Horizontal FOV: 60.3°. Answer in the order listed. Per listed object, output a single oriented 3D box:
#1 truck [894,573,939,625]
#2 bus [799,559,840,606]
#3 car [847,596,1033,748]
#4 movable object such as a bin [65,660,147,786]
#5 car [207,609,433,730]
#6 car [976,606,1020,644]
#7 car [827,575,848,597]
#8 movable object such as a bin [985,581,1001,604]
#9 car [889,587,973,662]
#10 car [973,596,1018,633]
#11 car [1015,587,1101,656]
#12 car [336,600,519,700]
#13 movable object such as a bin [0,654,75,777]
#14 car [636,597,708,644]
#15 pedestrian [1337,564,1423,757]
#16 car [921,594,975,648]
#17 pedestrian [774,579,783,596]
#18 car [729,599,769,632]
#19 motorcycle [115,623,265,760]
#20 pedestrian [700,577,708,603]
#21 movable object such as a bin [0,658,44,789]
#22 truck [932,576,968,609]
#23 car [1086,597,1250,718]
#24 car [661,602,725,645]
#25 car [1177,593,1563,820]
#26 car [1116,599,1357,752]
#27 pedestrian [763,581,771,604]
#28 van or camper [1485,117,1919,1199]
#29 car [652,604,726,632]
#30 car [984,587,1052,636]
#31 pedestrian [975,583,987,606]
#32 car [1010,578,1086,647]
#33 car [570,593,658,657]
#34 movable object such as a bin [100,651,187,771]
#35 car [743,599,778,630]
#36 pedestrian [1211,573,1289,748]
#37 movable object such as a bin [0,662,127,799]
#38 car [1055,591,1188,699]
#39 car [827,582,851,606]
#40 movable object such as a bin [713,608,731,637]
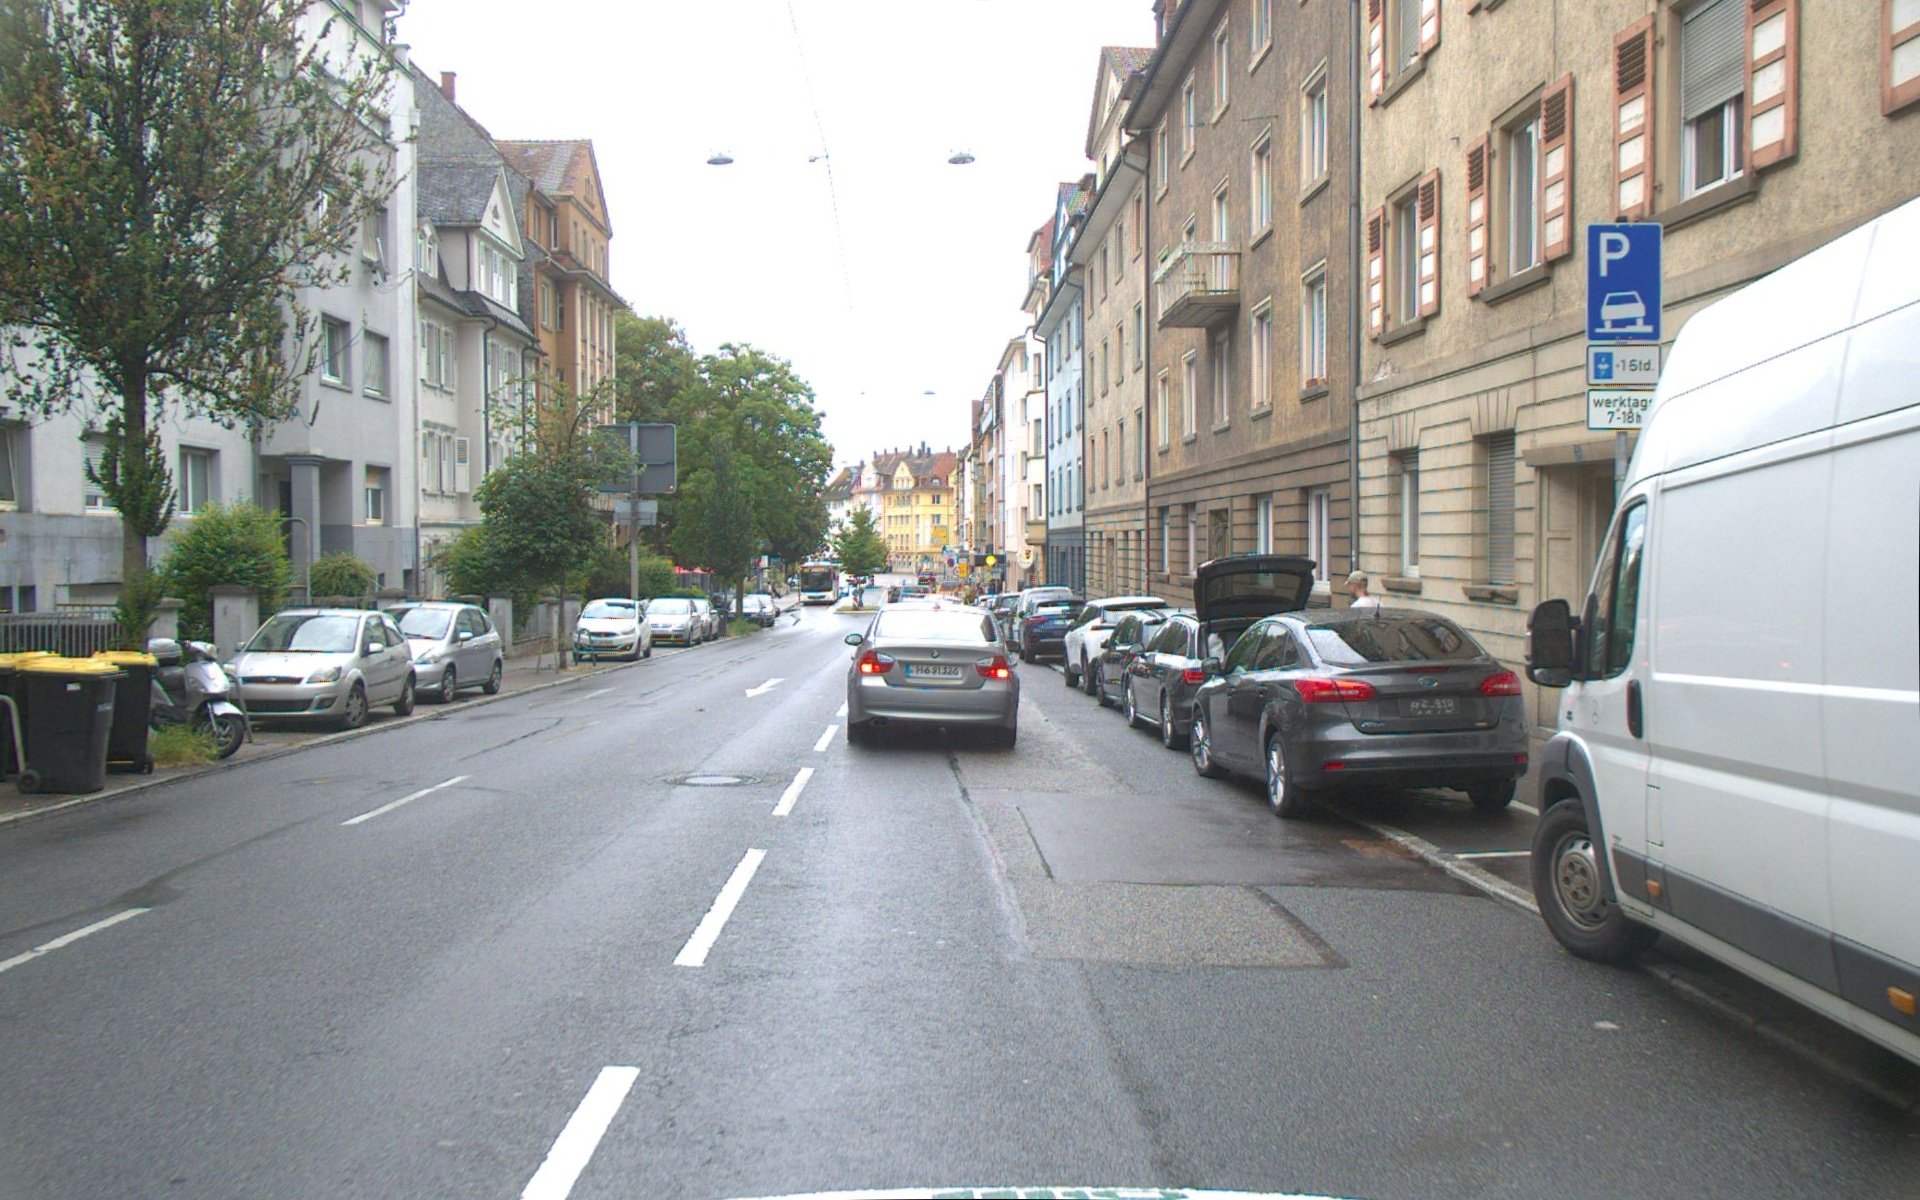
[{"bbox_3d":[-2.382,-0.012,89.400,2.172,2.588,4.777,3,-1,-3],"label":"truck"},{"bbox_3d":[-11.061,-1.297,131.391,2.628,3.256,11.948,3,-1,-3],"label":"bus"},{"bbox_3d":[-0.241,0.709,17.242,1.720,1.386,3.163,2,-1,-2],"label":"car"},{"bbox_3d":[-7.601,1.087,14.734,0.463,1.076,0.482,3,-1,-11],"label":"movable object such as a bin"},{"bbox_3d":[-8.213,0.855,21.587,1.568,1.421,3.885,0,-1,-3],"label":"car"},{"bbox_3d":[1.533,1.003,67.747,1.551,1.454,3.593,-2,0,-2],"label":"car"},{"bbox_3d":[-12.381,-1.364,167.171,1.954,2.049,3.997,3,-1,-3],"label":"car"},{"bbox_3d":[2.521,-0.552,125.444,1.100,1.732,1.432,-1,-1,-4],"label":"movable object such as a bin"},{"bbox_3d":[-0.671,0.527,35.712,1.570,1.445,3.285,3,-1,-4],"label":"car"},{"bbox_3d":[1.577,0.637,74.864,1.781,1.585,4.292,-1,0,-1],"label":"car"},{"bbox_3d":[2.342,0.496,40.529,1.754,1.575,4.224,-1,0,-1],"label":"car"},{"bbox_3d":[-8.479,0.776,26.690,1.567,1.476,3.888,0,-1,2],"label":"car"},{"bbox_3d":[-8.460,1.046,15.127,0.463,1.076,0.482,3,-1,-11],"label":"movable object such as a bin"},{"bbox_3d":[-9.081,0.629,52.426,1.648,1.414,3.908,1,0,-1],"label":"car"},{"bbox_3d":[4.088,0.585,16.060,0.696,1.818,0.687,-2,-1,19],"label":"pedestrian"},{"bbox_3d":[-0.350,0.603,47.044,1.406,1.380,3.761,3,-1,0],"label":"car"},{"bbox_3d":[-15.501,-1.037,141.188,0.607,1.402,0.544,3,-1,-1],"label":"pedestrian"},{"bbox_3d":[-9.888,0.699,77.634,1.621,1.479,3.940,0,0,-4],"label":"car"},{"bbox_3d":[-8.020,0.915,17.206,1.777,1.338,0.738,0,0,40],"label":"motorcycle"},{"bbox_3d":[-18.425,-0.744,118.862,0.456,1.821,0.543,3,-1,-8],"label":"pedestrian"},{"bbox_3d":[-8.421,1.044,14.195,0.808,1.076,0.483,2,-1,-1],"label":"movable object such as a bin"},{"bbox_3d":[-0.741,-0.545,118.344,2.172,2.153,4.648,4,-1,-4],"label":"truck"},{"bbox_3d":[2.875,0.766,23.544,1.600,1.504,3.732,3,0,-3],"label":"car"},{"bbox_3d":[-9.379,0.798,58.311,1.648,1.414,3.935,-1,0,-1],"label":"car"},{"bbox_3d":[3.021,0.733,13.143,1.743,1.505,4.185,0,-1,-5],"label":"car"},{"bbox_3d":[2.963,0.776,18.718,1.742,1.505,4.585,0,-1,-3],"label":"car"},{"bbox_3d":[-14.821,-0.574,126.950,0.533,1.739,0.465,3,-1,-8],"label":"pedestrian"},{"bbox_3d":[3.549,0.147,5.112,2.138,2.746,6.422,0,0,3],"label":"van or camper"},{"bbox_3d":[-14.703,0.984,89.847,3.740,1.414,1.741,2,-1,-3],"label":"car"},{"bbox_3d":[1.828,0.357,53.580,1.804,1.434,4.385,-2,0,-3],"label":"car"},{"bbox_3d":[1.608,-0.380,125.192,0.734,1.690,0.755,3,-1,8],"label":"pedestrian"},{"bbox_3d":[2.446,0.333,46.932,1.754,1.849,4.078,-1,0,-2],"label":"car"},{"bbox_3d":[-8.784,0.641,42.205,1.613,1.534,3.794,1,-1,-3],"label":"car"},{"bbox_3d":[-7.638,1.031,15.484,0.513,1.076,0.483,3,-1,-1],"label":"movable object such as a bin"},{"bbox_3d":[-9.897,0.720,82.103,1.600,1.479,3.835,1,0,-6],"label":"car"},{"bbox_3d":[2.941,0.612,16.801,0.617,1.721,0.635,-2,-3,-1],"label":"pedestrian"},{"bbox_3d":[-7.517,1.079,13.818,0.808,1.076,0.483,3,-1,-1],"label":"movable object such as a bin"},{"bbox_3d":[2.740,0.738,28.820,1.600,1.667,4.192,3,0,-3],"label":"car"},{"bbox_3d":[-11.107,-0.531,151.712,1.954,2.049,3.997,3,-1,-3],"label":"car"},{"bbox_3d":[-9.115,0.861,63.403,0.617,1.076,0.600,0,-1,-2],"label":"movable object such as a bin"}]
